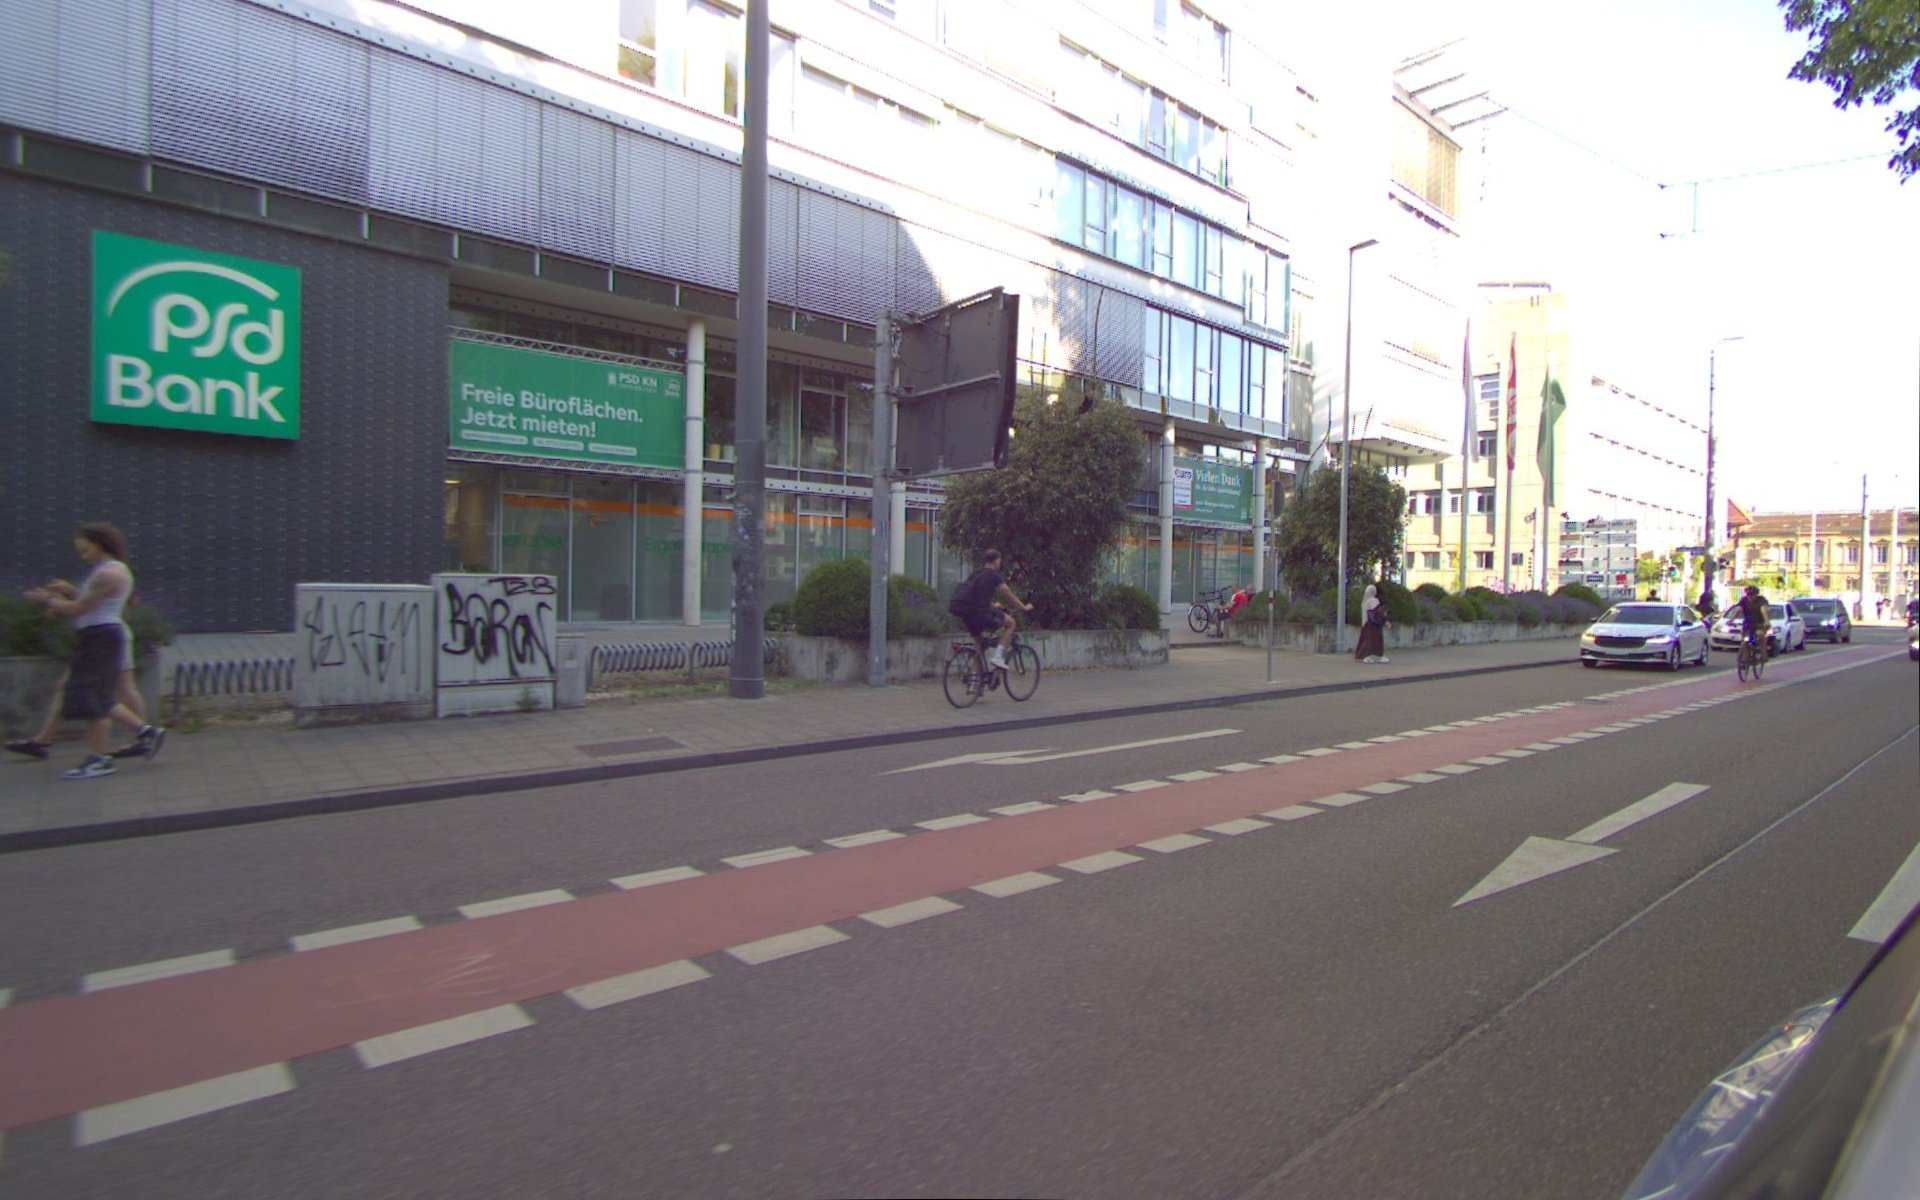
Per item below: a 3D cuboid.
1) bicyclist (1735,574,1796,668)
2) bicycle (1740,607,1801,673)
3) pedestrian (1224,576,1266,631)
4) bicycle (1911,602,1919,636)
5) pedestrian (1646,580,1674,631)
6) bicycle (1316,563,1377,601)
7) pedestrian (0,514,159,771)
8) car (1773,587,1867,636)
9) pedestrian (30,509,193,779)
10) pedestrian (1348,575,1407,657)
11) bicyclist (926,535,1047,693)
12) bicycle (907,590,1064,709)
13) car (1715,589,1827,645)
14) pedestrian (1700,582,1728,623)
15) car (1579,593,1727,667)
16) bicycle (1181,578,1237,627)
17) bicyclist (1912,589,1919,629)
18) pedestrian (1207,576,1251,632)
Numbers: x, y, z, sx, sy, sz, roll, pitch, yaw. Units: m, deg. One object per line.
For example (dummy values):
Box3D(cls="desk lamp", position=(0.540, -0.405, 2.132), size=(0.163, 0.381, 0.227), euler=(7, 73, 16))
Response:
Box3D(cls="bicyclist", position=(15.258, 0.379, 19.178), size=(0.702, 1.709, 0.752), euler=(0, 1, -41))
Box3D(cls="bicycle", position=(15.269, 0.726, 19.056), size=(2.090, 1.135, 0.550), euler=(0, 2, -42))
Box3D(cls="pedestrian", position=(6.851, 0.073, 24.352), size=(0.535, 1.288, 0.783), euler=(0, 1, -45))
Box3D(cls="bicycle", position=(33.594, 0.646, 35.143), size=(1.841, 1.138, 0.666), euler=(0, 1, -41))
Box3D(cls="pedestrian", position=(22.606, 0.160, 32.697), size=(0.579, 1.601, 0.527), euler=(0, 3, -40))
Box3D(cls="bicycle", position=(15.304, -0.731, 40.122), size=(0.741, 1.445, 2.435), euler=(0, 1, -23))
Box3D(cls="pedestrian", position=(-6.693, 0.289, 7.722), size=(0.880, 1.831, 0.591), euler=(0, 2, -41))
Box3D(cls="car", position=(30.705, 0.369, 36.085), size=(3.931, 1.616, 1.997), euler=(0, 2, -41))
Box3D(cls="pedestrian", position=(-6.150, 0.287, 7.356), size=(0.876, 1.831, 0.564), euler=(0, 2, -41))
Box3D(cls="pedestrian", position=(8.418, 0.311, 20.410), size=(0.895, 1.594, 0.753), euler=(0, 1, -38))
Box3D(cls="bicyclist", position=(0.327, 0.144, 12.218), size=(1.188, 1.783, 0.743), euler=(0, 4, -41))
Box3D(cls="bicycle", position=(0.340, 0.555, 12.264), size=(1.894, 1.291, 0.665), euler=(0, 4, -41))
Box3D(cls="car", position=(23.429, 0.454, 29.204), size=(3.798, 1.482, 1.672), euler=(0, 2, -38))
Box3D(cls="pedestrian", position=(30.856, 0.091, 41.404), size=(0.652, 1.601, 0.693), euler=(0, 3, -40))
Box3D(cls="car", position=(15.388, 0.597, 22.402), size=(3.952, 1.437, 1.784), euler=(0, 2, -42))
Box3D(cls="bicycle", position=(6.267, 0.048, 25.429), size=(1.583, 1.176, 0.534), euler=(0, 2, -41))
Box3D(cls="bicyclist", position=(33.544, 0.308, 35.082), size=(0.852, 1.397, 0.684), euler=(0, 1, -41))
Box3D(cls="pedestrian", position=(6.335, 0.084, 23.855), size=(0.682, 1.288, 0.750), euler=(0, 1, -45))
